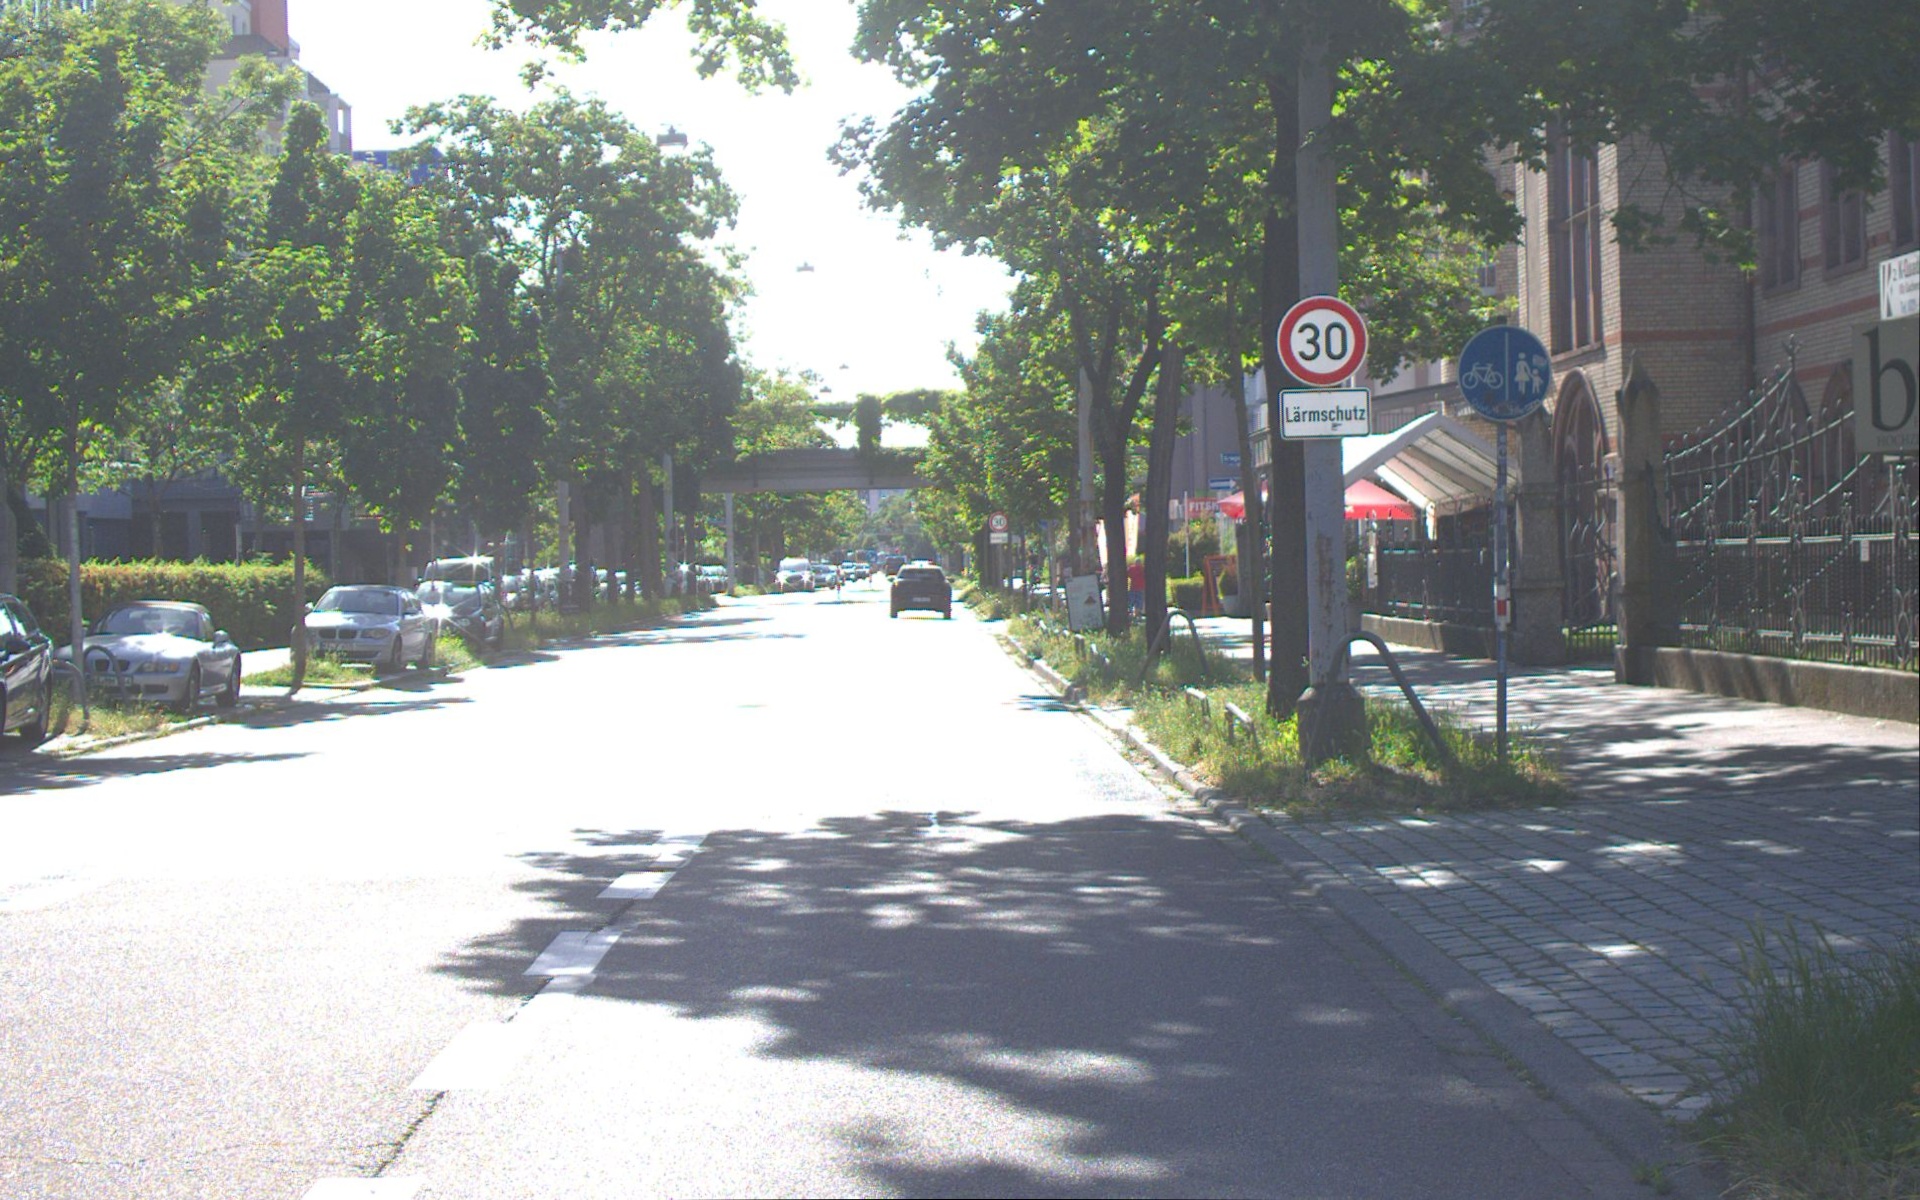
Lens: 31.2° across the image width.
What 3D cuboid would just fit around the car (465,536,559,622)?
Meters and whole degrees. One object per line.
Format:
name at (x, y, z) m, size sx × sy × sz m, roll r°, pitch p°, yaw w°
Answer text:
car at (-11.742, -0.571, 90.365) m, size 1.981 × 2.069 × 5.197 m, roll -3°, pitch 1°, yaw -3°

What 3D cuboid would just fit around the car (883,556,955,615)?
car at (-1.207, -0.436, 99.472) m, size 1.984 × 1.595 × 4.141 m, roll -1°, pitch 1°, yaw -2°

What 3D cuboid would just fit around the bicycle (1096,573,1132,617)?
bicycle at (3.673, -0.121, 82.288) m, size 0.685 × 1.024 × 2.096 m, roll -1°, pitch 0°, yaw -2°

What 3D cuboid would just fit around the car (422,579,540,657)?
car at (-9.486, 0.329, 68.344) m, size 1.712 × 1.454 × 4.072 m, roll 0°, pitch 1°, yaw 1°

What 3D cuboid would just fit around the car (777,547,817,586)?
car at (-8.144, -1.679, 171.653) m, size 1.855 × 1.819 × 4.610 m, roll -3°, pitch 1°, yaw -2°

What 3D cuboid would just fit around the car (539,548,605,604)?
car at (-13.158, -0.840, 116.774) m, size 1.855 × 1.843 × 4.562 m, roll 0°, pitch 1°, yaw -2°

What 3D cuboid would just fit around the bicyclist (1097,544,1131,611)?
bicyclist at (3.681, -0.542, 82.312) m, size 0.700 × 1.594 × 0.955 m, roll -1°, pitch 0°, yaw -2°

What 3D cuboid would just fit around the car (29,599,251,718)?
car at (-9.623, 0.657, 40.630) m, size 1.678 × 1.251 × 4.015 m, roll 0°, pitch 1°, yaw 0°

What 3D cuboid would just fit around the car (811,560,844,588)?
car at (-7.892, -1.562, 205.531) m, size 1.855 × 1.563 × 4.716 m, roll -3°, pitch 1°, yaw -1°

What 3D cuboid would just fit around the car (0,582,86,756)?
car at (-9.789, 0.597, 33.242) m, size 1.855 × 1.489 × 4.707 m, roll 2°, pitch 1°, yaw -6°

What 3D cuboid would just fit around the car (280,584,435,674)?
car at (-9.926, 0.447, 56.911) m, size 1.688 × 1.378 × 4.191 m, roll 0°, pitch 1°, yaw 2°
